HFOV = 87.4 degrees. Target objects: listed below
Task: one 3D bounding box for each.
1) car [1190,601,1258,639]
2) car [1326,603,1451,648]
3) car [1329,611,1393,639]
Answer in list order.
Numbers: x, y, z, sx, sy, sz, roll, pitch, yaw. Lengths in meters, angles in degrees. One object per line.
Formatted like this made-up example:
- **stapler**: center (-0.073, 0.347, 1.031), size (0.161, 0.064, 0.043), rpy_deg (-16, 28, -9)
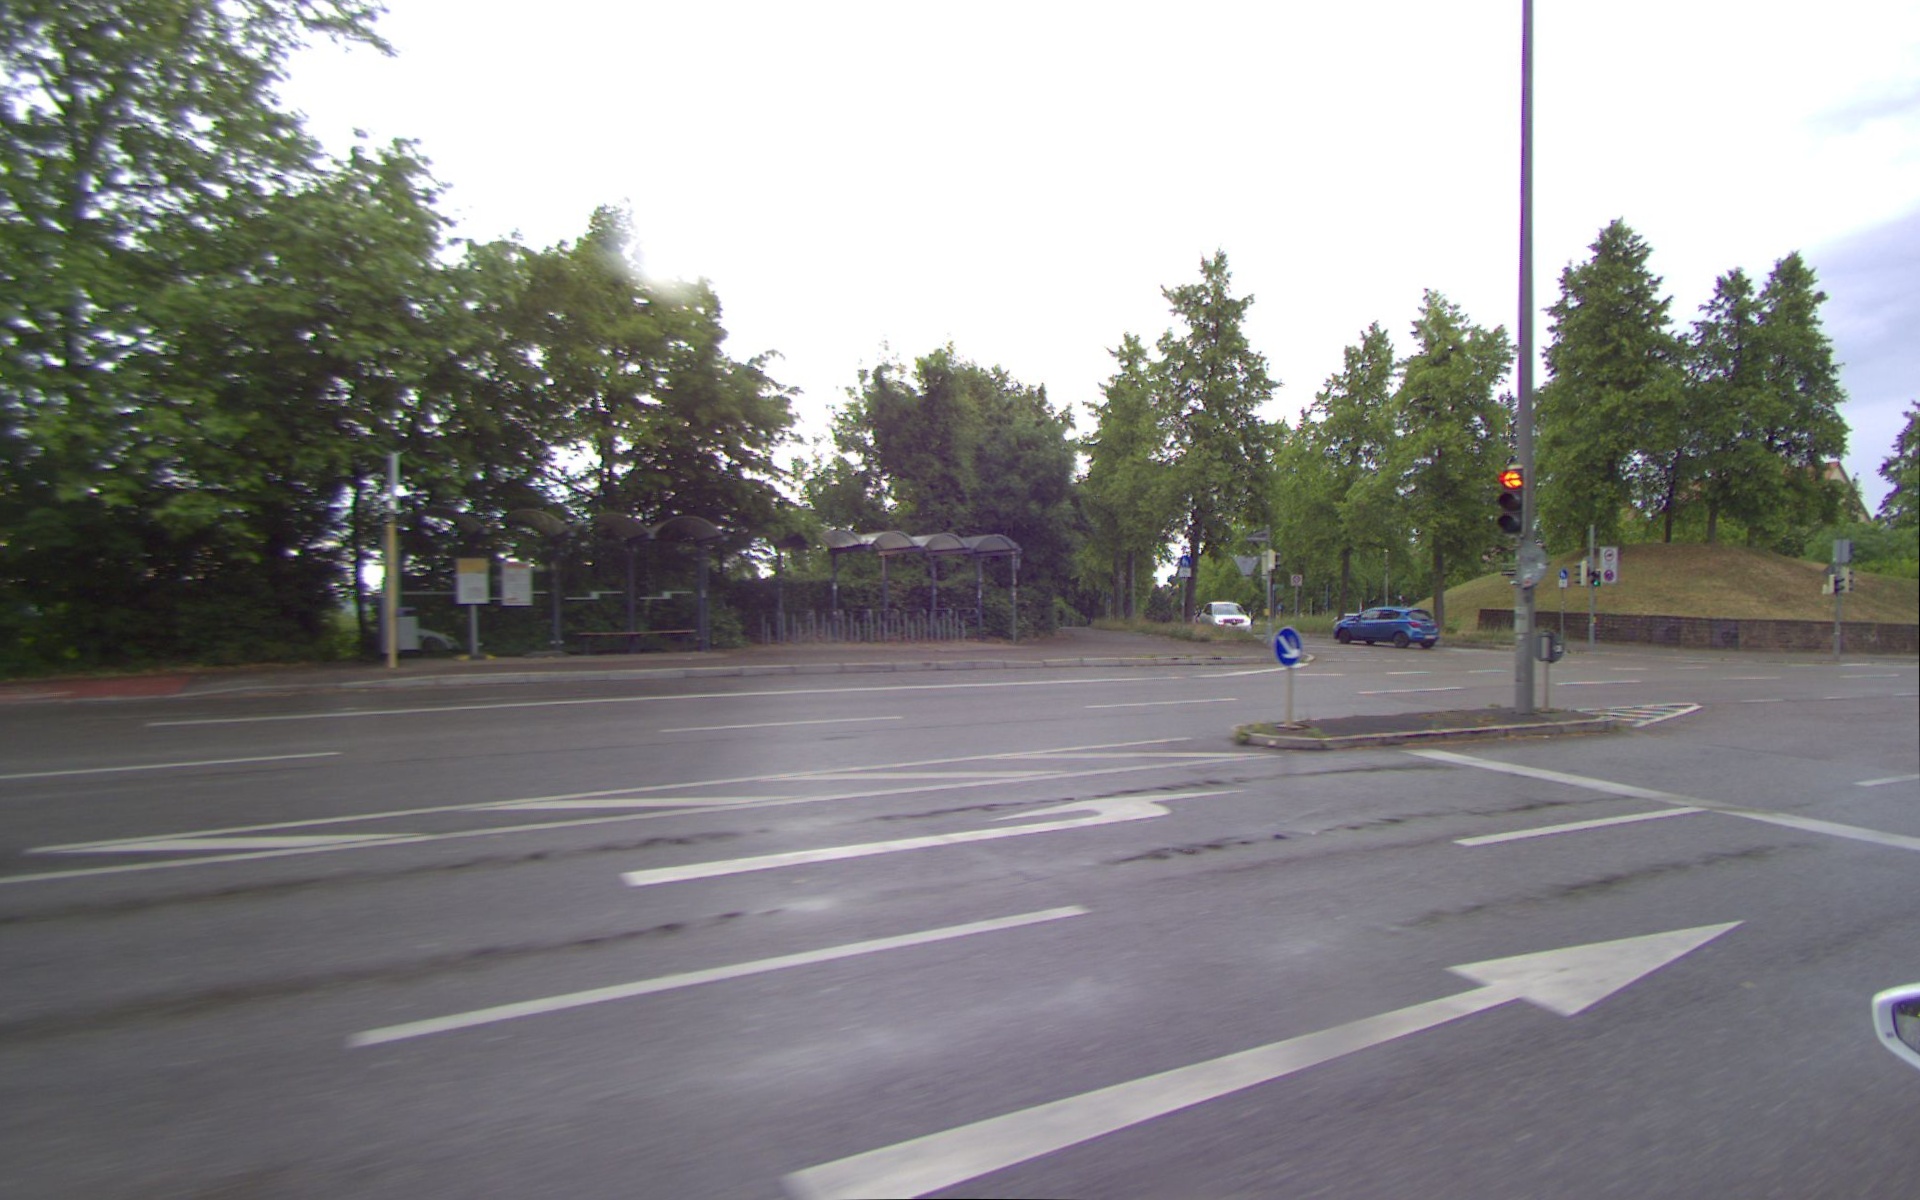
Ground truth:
- **car**: center (11.424, 0.817, 43.683), size (1.728, 1.498, 3.696), rpy_deg (2, 0, -3)
- **car**: center (16.066, 0.916, 37.853), size (1.977, 1.510, 3.903), rpy_deg (1, 1, -31)
- **car**: center (29.383, 1.804, 73.625), size (3.937, 1.877, 1.992), rpy_deg (2, 1, 38)
